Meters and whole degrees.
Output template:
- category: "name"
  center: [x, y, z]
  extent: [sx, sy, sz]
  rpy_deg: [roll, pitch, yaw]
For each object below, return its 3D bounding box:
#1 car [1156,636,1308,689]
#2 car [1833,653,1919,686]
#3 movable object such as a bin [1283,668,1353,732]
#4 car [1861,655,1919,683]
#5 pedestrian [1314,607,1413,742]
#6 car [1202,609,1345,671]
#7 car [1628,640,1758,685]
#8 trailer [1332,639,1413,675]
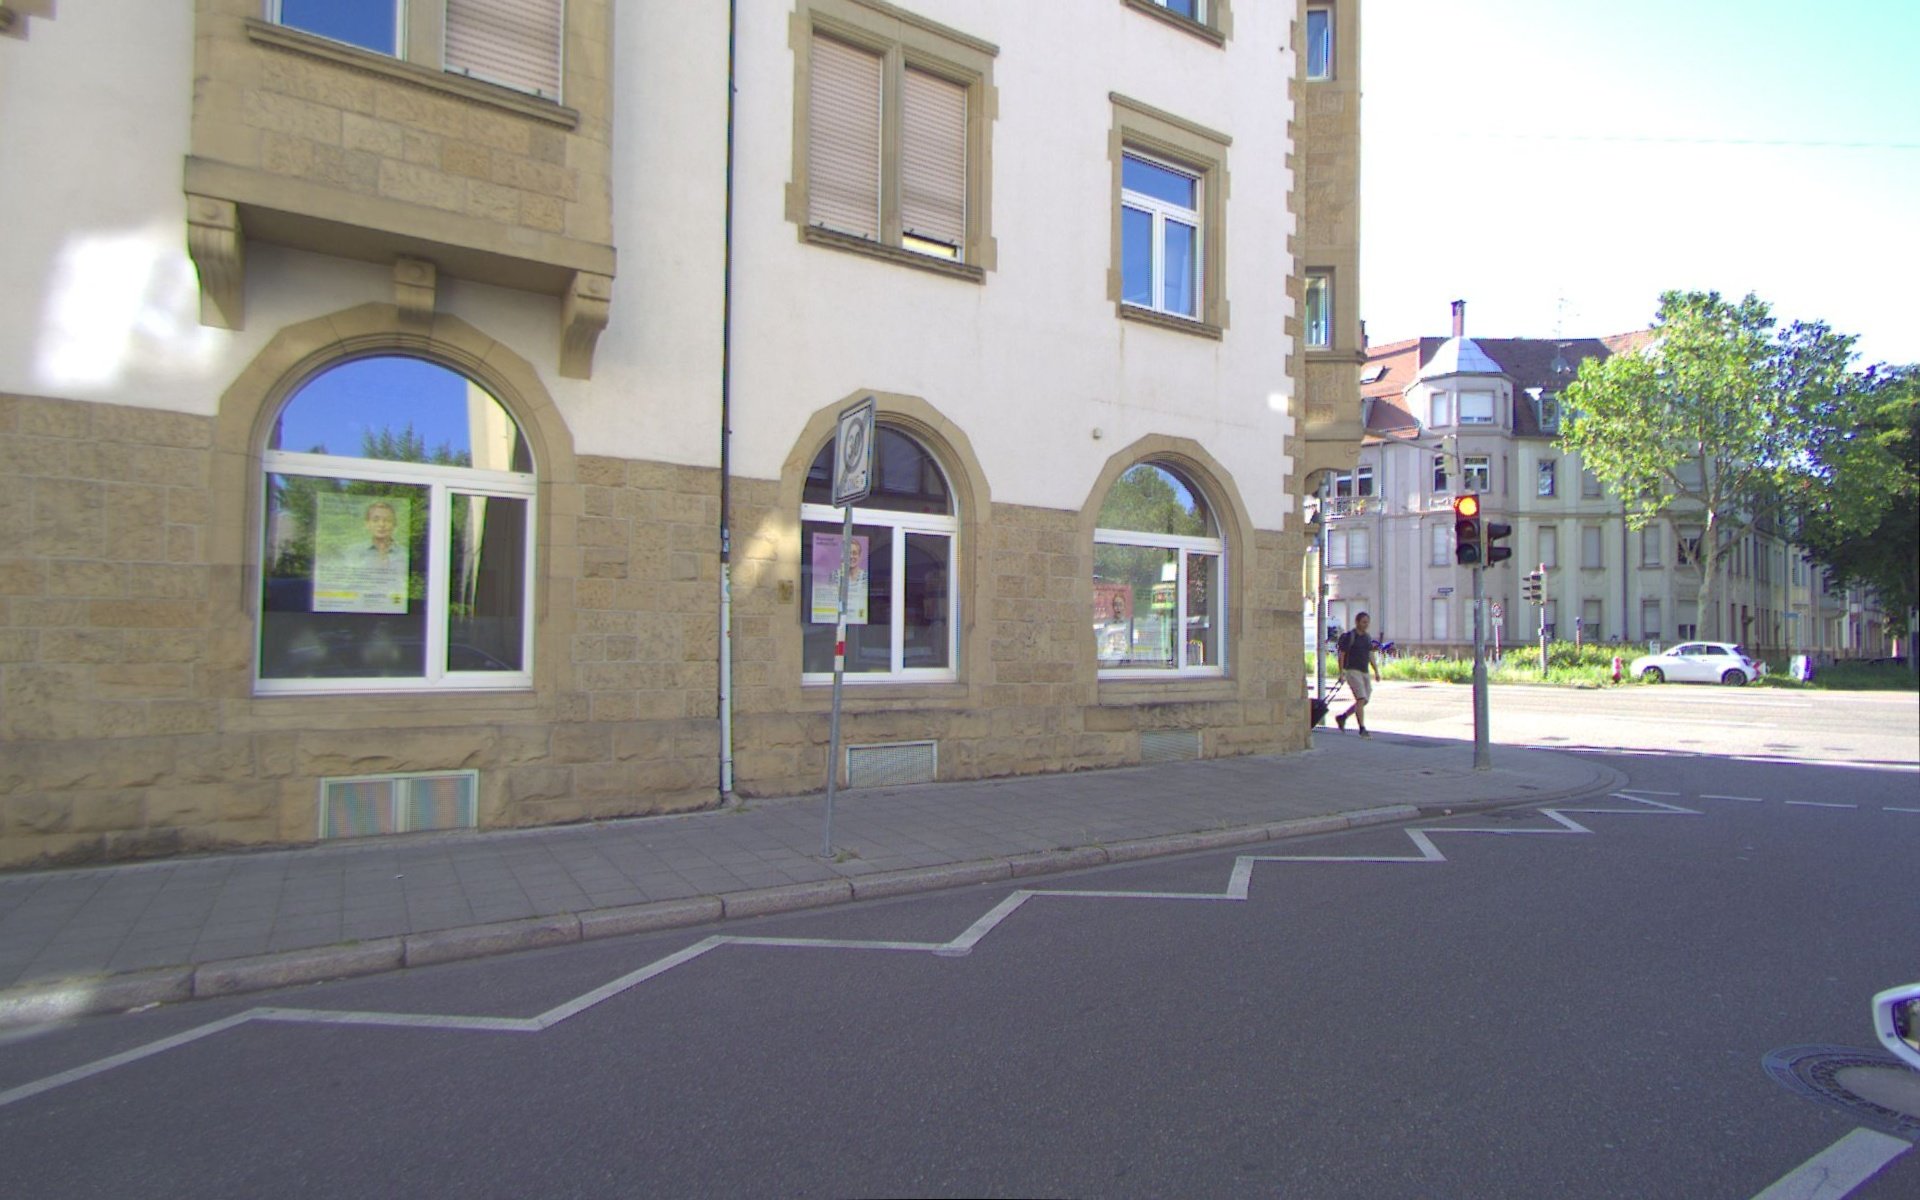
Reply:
- category: "car"
  center: [8.193, 1.833, 30.435]
  extent: [4.155, 1.476, 1.669]
  rpy_deg: [-2, -2, 42]
- category: "car"
  center: [45.450, 3.409, 49.499]
  extent: [1.647, 1.476, 3.595]
  rpy_deg: [2, -2, -44]
- category: "movable object such as a bin"
  center: [5.392, 1.499, 15.159]
  extent: [0.506, 0.904, 0.854]
  rpy_deg: [2, -3, -42]
- category: "car"
  center: [53.690, 3.915, 57.066]
  extent: [1.647, 1.476, 3.595]
  rpy_deg: [2, -2, -44]
- category: "pedestrian"
  center: [5.920, 1.067, 14.748]
  extent: [0.743, 1.873, 1.056]
  rpy_deg: [4, -1, -42]
- category: "car"
  center: [14.276, 1.809, 45.967]
  extent: [6.040, 2.672, 1.886]
  rpy_deg: [-1, -2, 42]
- category: "car"
  center: [25.826, 2.172, 35.452]
  extent: [3.589, 1.476, 1.496]
  rpy_deg: [-1, -2, 41]
- category: "trailer"
  center: [17.603, 2.402, 42.916]
  extent: [2.914, 1.476, 1.506]
  rpy_deg: [-1, -2, 42]
